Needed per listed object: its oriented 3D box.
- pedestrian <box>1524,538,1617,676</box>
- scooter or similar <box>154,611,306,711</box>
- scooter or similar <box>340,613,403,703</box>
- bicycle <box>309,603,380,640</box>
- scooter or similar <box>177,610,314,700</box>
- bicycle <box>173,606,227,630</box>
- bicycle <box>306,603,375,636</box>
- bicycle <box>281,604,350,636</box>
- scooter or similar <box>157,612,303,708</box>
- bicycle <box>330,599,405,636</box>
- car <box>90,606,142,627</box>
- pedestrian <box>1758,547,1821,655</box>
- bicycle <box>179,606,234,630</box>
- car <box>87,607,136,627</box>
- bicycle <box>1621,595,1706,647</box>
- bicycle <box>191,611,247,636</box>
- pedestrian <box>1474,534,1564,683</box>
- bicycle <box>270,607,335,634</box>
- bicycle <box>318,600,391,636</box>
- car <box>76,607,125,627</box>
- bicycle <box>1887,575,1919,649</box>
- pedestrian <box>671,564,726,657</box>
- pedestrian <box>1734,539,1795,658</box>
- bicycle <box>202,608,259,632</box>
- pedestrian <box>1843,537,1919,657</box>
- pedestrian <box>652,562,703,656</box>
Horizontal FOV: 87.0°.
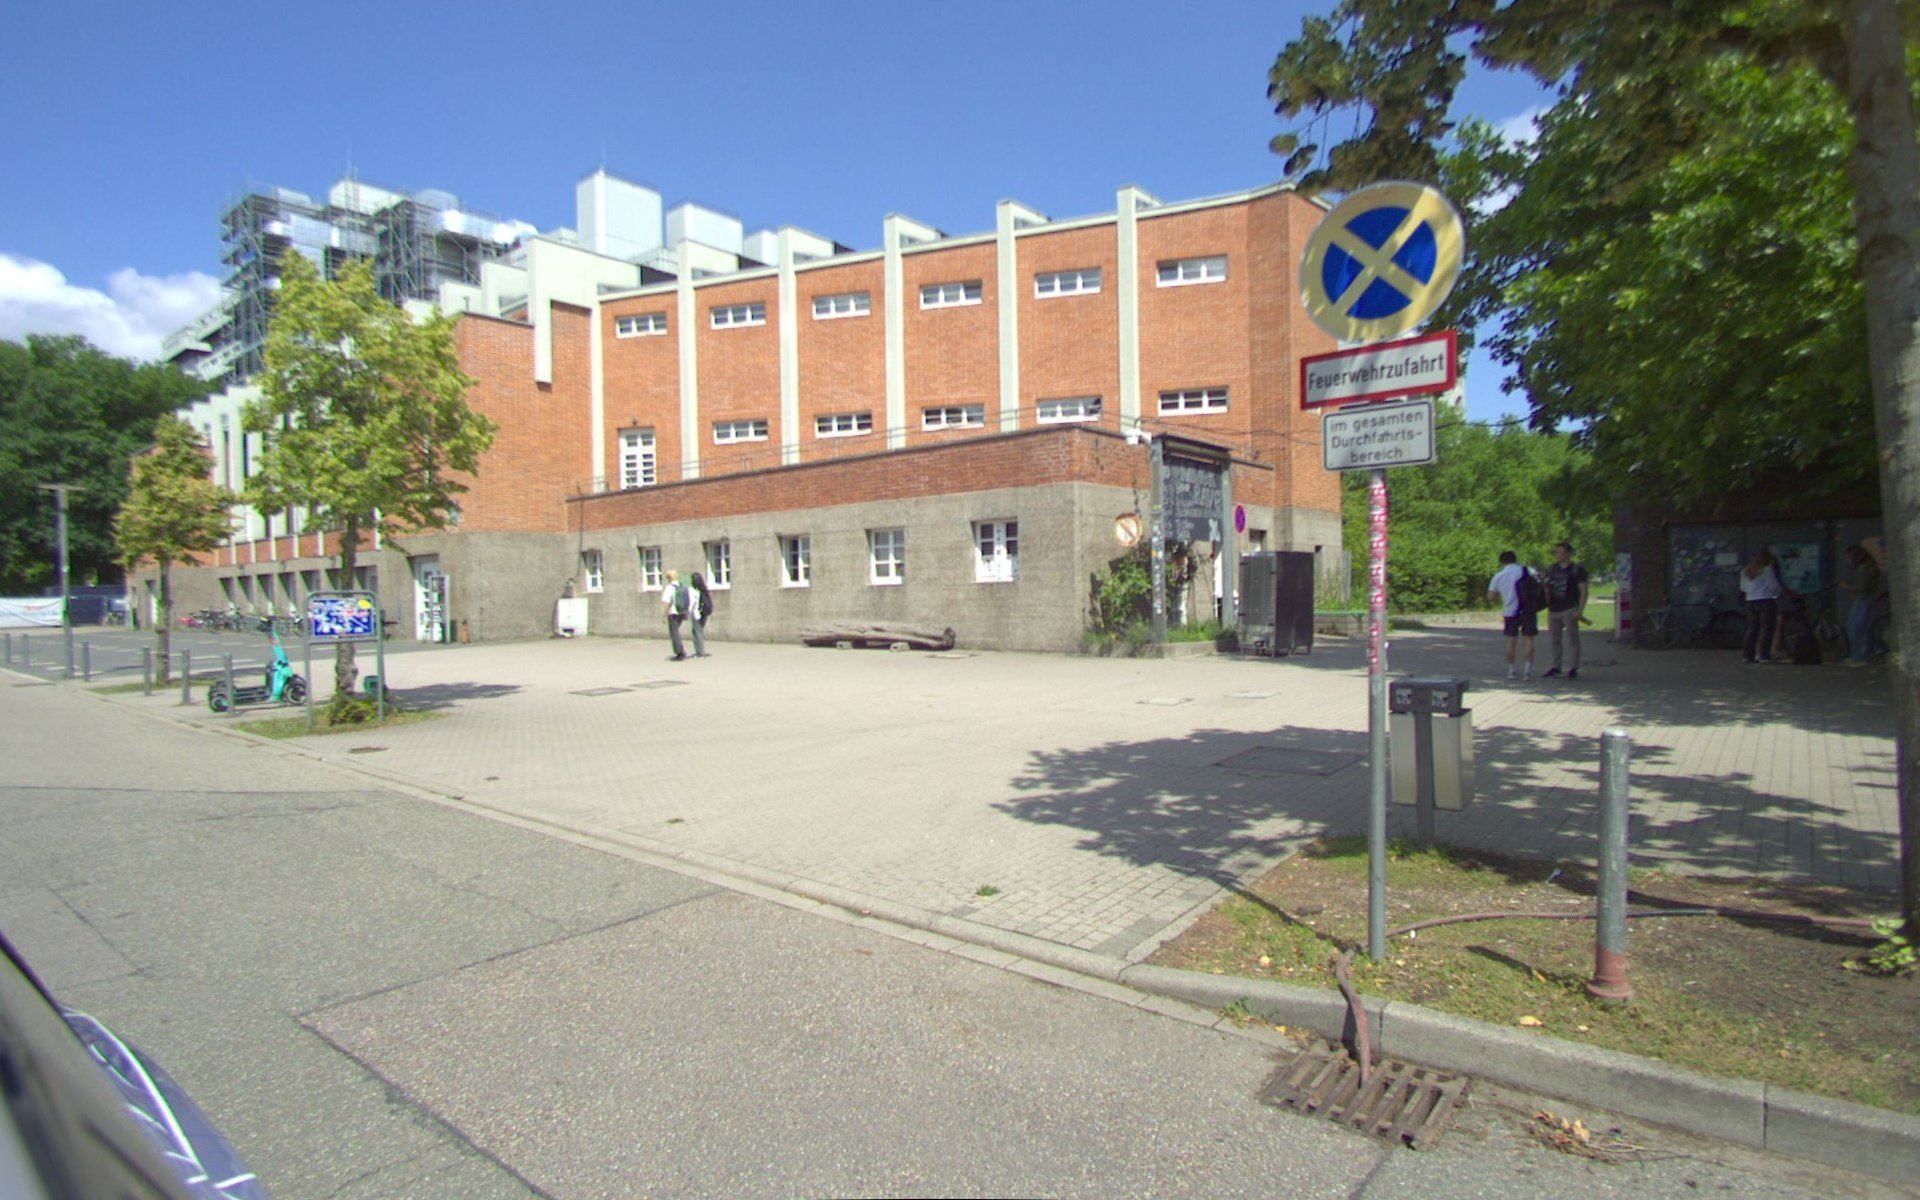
[{"bbox_3d":[7.914,0.074,13.145,0.481,1.733,0.883,0,2,-22],"label":"pedestrian"},{"bbox_3d":[-9.753,0.796,13.583,1.548,1.234,0.526,-2,1,-23],"label":"scooter or similar"},{"bbox_3d":[-8.216,0.780,14.117,0.556,1.157,1.352,-2,1,-38],"label":"scooter or similar"},{"bbox_3d":[-21.249,0.716,34.965,0.439,1.134,1.999,-1,2,44],"label":"bicycle"},{"bbox_3d":[-10.590,0.790,15.050,1.548,1.234,0.572,-2,1,-23],"label":"scooter or similar"},{"bbox_3d":[-35.502,0.827,47.277,0.541,1.038,1.931,-1,1,38],"label":"bicycle"},{"bbox_3d":[-22.077,0.695,36.073,0.621,1.090,1.990,-1,1,39],"label":"bicycle"},{"bbox_3d":[-23.589,0.717,37.080,0.662,1.069,2.002,-1,1,39],"label":"bicycle"},{"bbox_3d":[-10.227,0.816,14.240,1.548,1.234,0.567,-2,1,-23],"label":"scooter or similar"},{"bbox_3d":[-19.263,0.553,32.931,0.666,1.134,2.002,-1,1,39],"label":"bicycle"},{"bbox_3d":[-51.422,1.020,61.663,0.794,1.189,2.337,-1,1,41],"label":"car"},{"bbox_3d":[12.650,0.005,15.446,0.407,1.605,0.606,-3,2,-2],"label":"pedestrian"},{"bbox_3d":[-34.828,0.814,46.807,0.518,1.038,1.931,-1,1,38],"label":"bicycle"},{"bbox_3d":[-52.718,1.050,62.894,0.524,1.189,2.259,-1,1,41],"label":"car"},{"bbox_3d":[12.682,0.368,18.263,1.231,0.890,0.301,0,1,42],"label":"bicycle"},{"bbox_3d":[-33.018,1.044,45.131,0.529,1.038,1.931,-1,1,38],"label":"bicycle"},{"bbox_3d":[7.127,0.096,12.932,0.441,1.833,0.883,0,2,-22],"label":"pedestrian"},{"bbox_3d":[-24.880,0.762,38.335,0.684,0.967,1.931,-1,1,39],"label":"bicycle"},{"bbox_3d":[-20.501,0.599,34.299,0.592,1.134,2.001,-1,1,40],"label":"bicycle"},{"bbox_3d":[-54.659,1.087,64.394,0.479,1.189,2.295,-1,1,41],"label":"car"},{"bbox_3d":[14.380,0.187,14.740,0.411,1.085,1.351,0,2,-4],"label":"bicycle"},{"bbox_3d":[-5.173,0.202,20.014,0.916,1.793,0.570,0,1,39],"label":"pedestrian"},{"bbox_3d":[12.057,-0.030,15.179,0.441,1.723,0.531,-3,2,-4],"label":"pedestrian"},{"bbox_3d":[-31.903,0.860,44.271,0.568,0.947,1.931,-1,1,39],"label":"bicycle"},{"bbox_3d":[13.206,-0.055,14.490,0.496,1.663,0.678,-3,2,1],"label":"pedestrian"},{"bbox_3d":[-5.461,0.165,19.559,0.805,1.775,0.557,0,1,39],"label":"pedestrian"}]
